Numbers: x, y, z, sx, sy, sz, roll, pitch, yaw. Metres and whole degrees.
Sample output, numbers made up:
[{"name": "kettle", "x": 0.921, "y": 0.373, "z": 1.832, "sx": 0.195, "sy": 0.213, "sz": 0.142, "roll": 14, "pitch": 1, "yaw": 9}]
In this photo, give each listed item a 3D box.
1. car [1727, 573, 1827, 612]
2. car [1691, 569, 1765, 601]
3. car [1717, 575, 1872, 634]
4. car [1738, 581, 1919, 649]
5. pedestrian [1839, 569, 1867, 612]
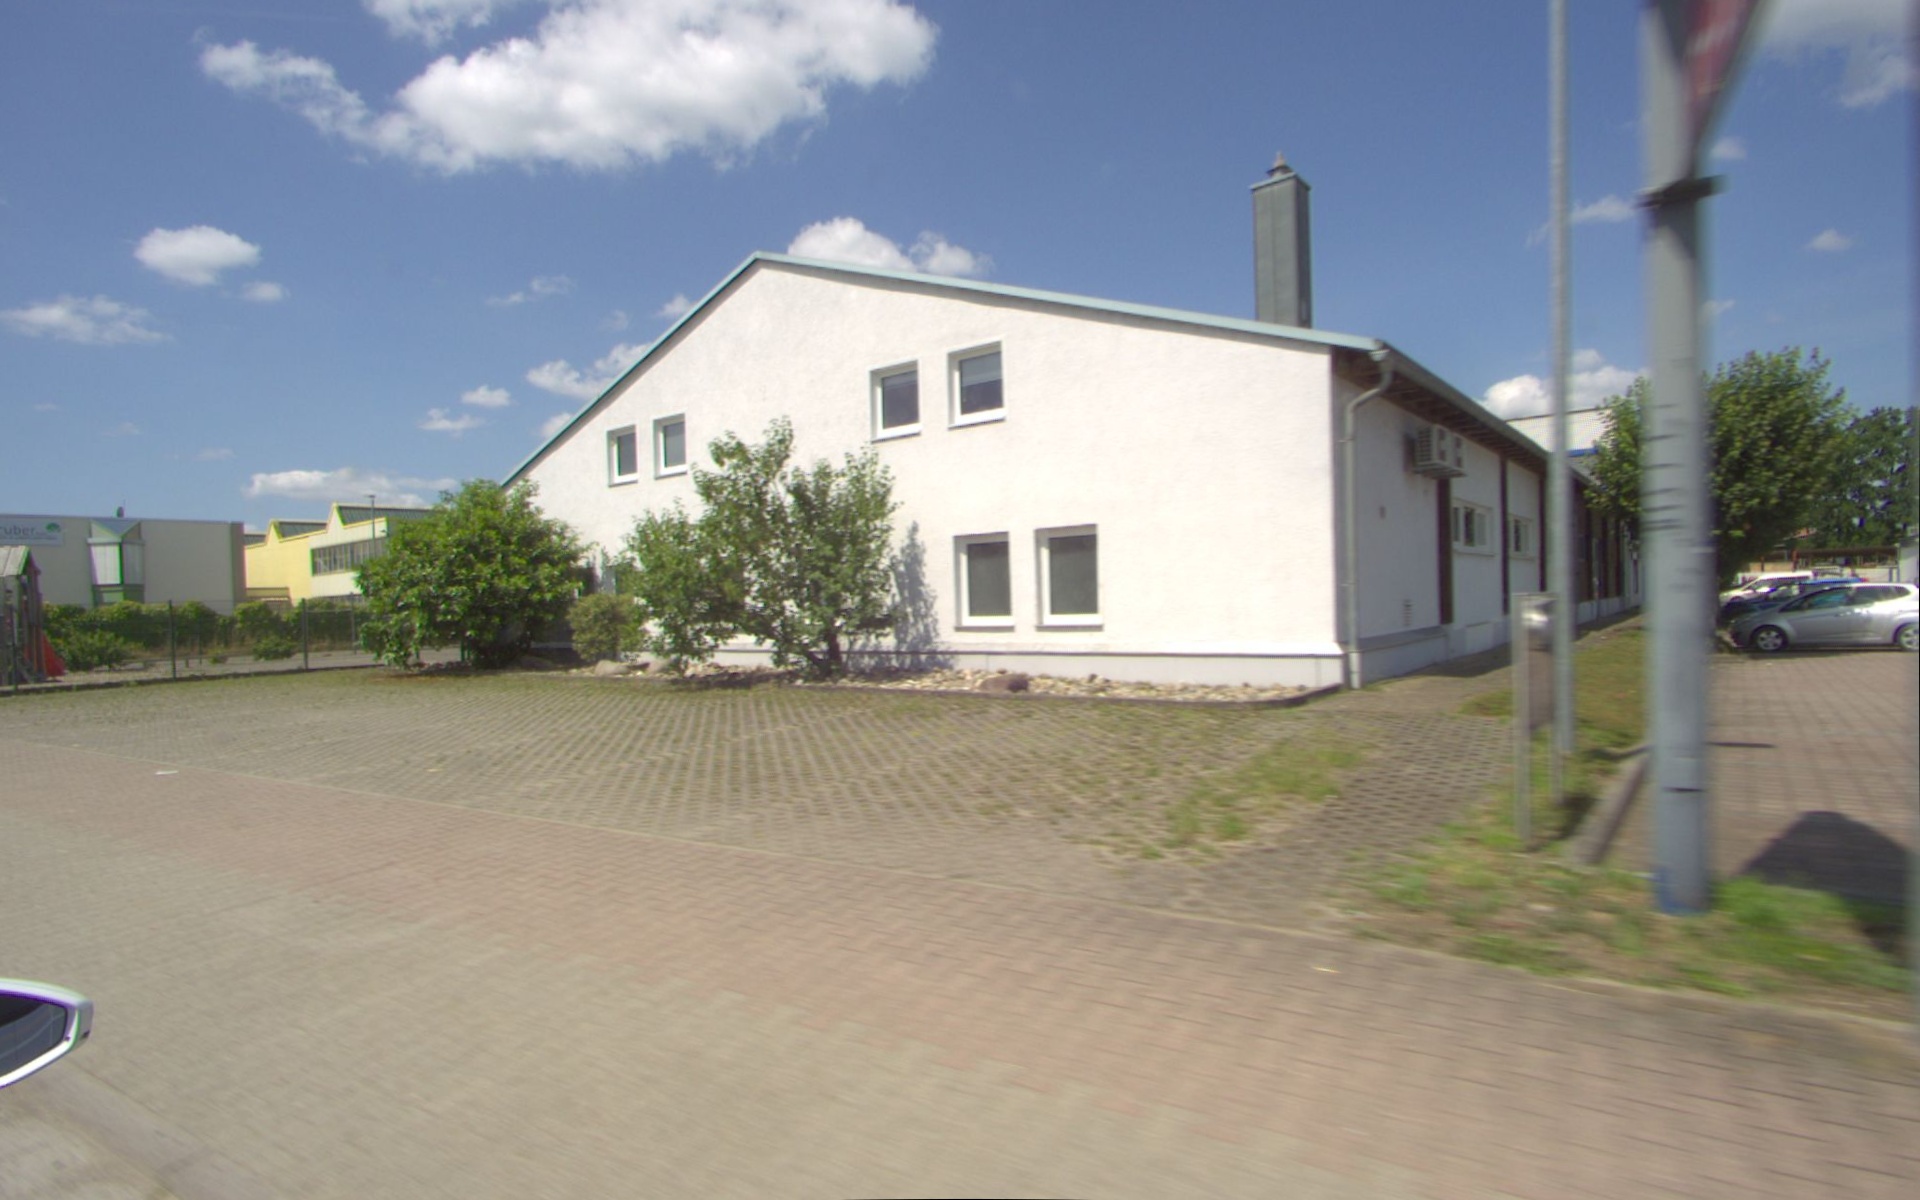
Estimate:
[{"name": "car", "x": 43.314, "y": -0.367, "z": 53.204, "sx": 3.929, "sy": 1.790, "sz": 1.808, "roll": -4, "pitch": -1, "yaw": 35}, {"name": "car", "x": 53.078, "y": -1.009, "z": 69.285, "sx": 3.946, "sy": 2.040, "sz": 1.988, "roll": -2, "pitch": 0, "yaw": 35}, {"name": "car", "x": 28.680, "y": 0.176, "z": 34.567, "sx": 3.942, "sy": 1.730, "sz": 1.880, "roll": -4, "pitch": -1, "yaw": 39}, {"name": "car", "x": 20.989, "y": 0.358, "z": 23.791, "sx": 3.856, "sy": 1.518, "sz": 1.879, "roll": -2, "pitch": 0, "yaw": 41}, {"name": "pedestrian", "x": 45.344, "y": -0.488, "z": 50.868, "sx": 0.900, "sy": 2.134, "sz": 0.866, "roll": -1, "pitch": 0, "yaw": 32}]
